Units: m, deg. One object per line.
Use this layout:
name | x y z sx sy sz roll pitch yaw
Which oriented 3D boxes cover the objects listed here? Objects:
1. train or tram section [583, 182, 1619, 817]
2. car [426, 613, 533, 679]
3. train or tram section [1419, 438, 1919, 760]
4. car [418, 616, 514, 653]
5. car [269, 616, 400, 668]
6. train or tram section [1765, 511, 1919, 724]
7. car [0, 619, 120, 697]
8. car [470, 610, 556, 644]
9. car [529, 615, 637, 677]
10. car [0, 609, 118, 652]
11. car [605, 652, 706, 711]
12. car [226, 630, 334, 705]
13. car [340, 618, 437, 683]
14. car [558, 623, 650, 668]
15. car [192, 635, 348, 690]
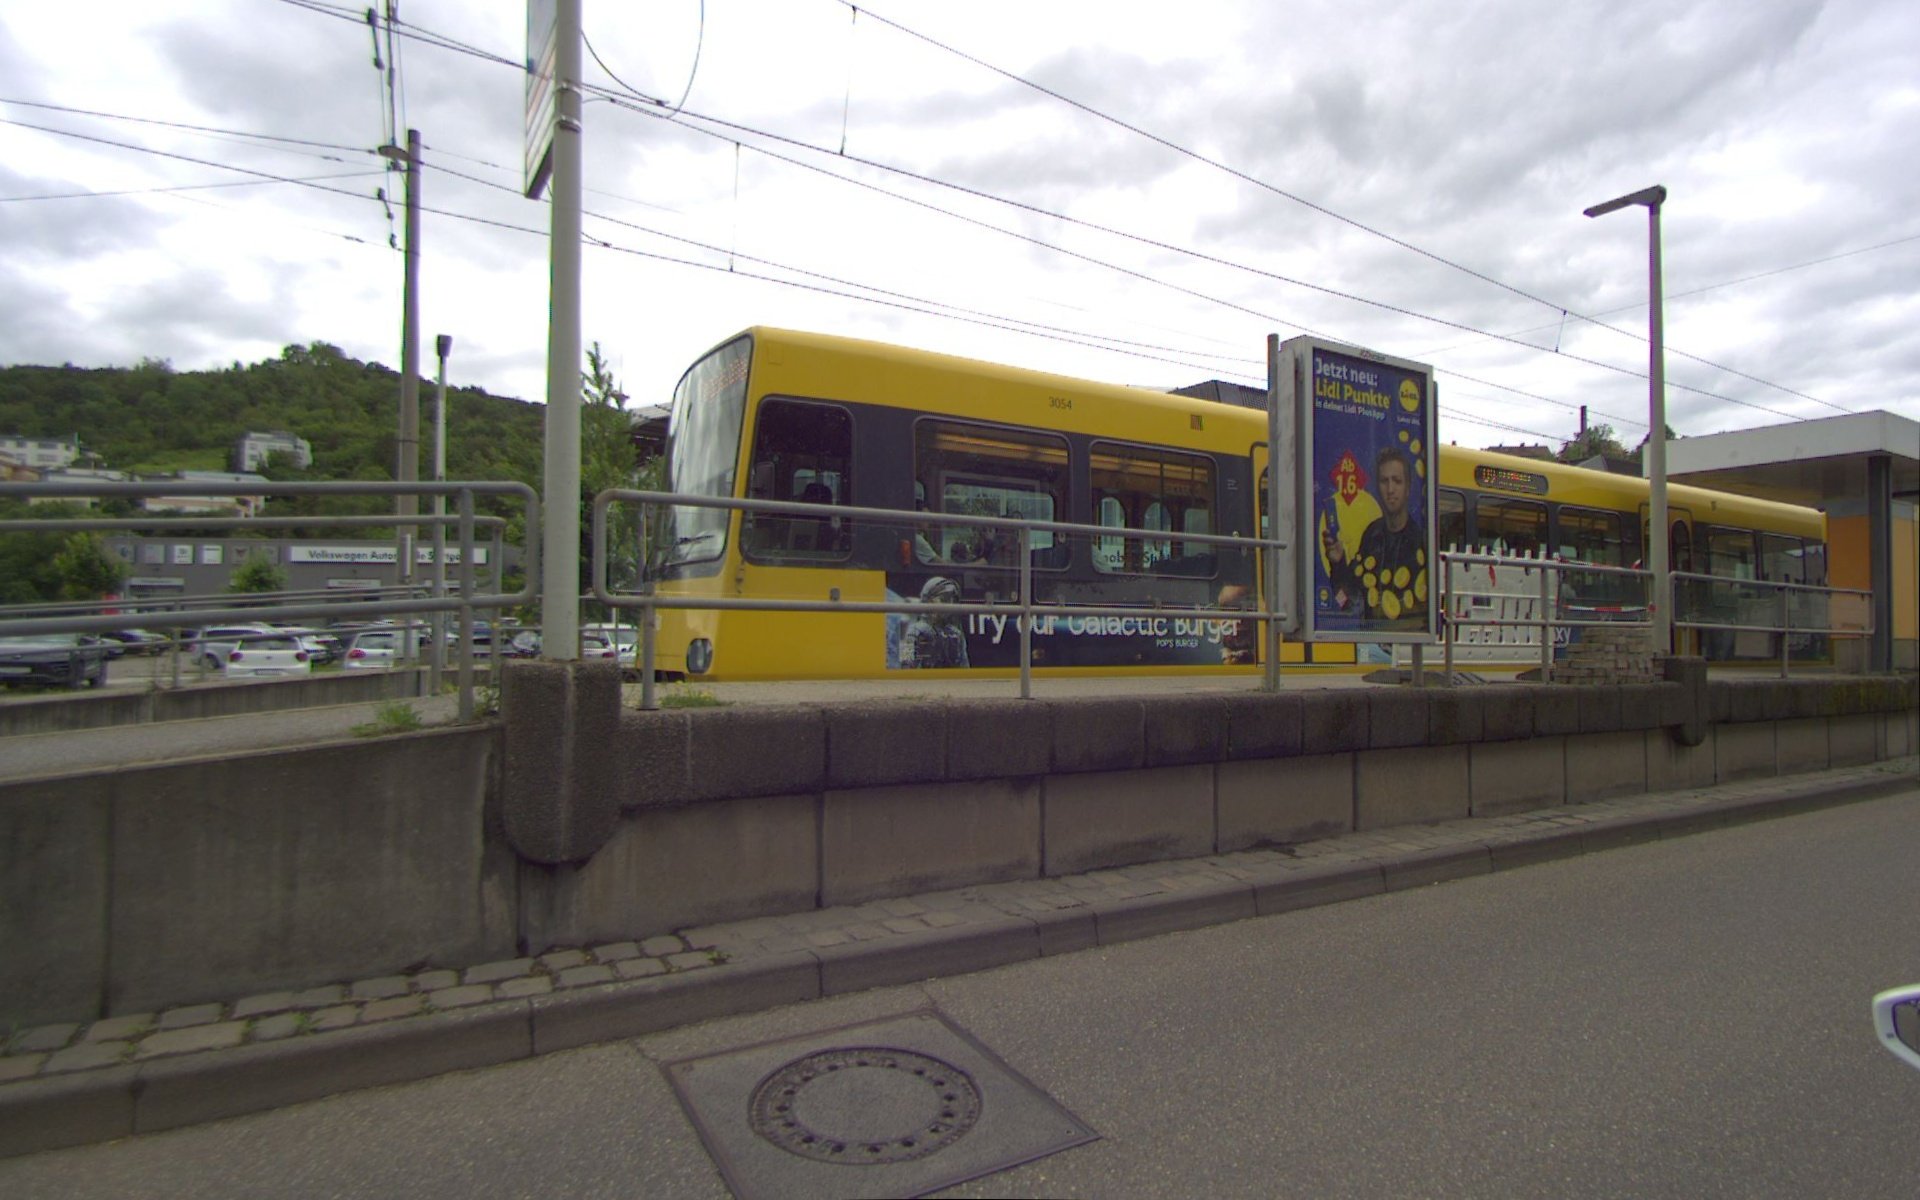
train or tram section | 2.461 -0.493 10.600 11.777 4.018 2.727 1 -2 -32
car | -13.208 1.260 27.511 1.909 1.574 3.961 7 -5 -35
train or tram section | 12.538 0.131 16.791 11.777 4.018 2.727 1 -2 -32
car | -28.425 2.020 57.971 4.429 1.750 1.998 4 -4 -9
car | -28.341 1.954 45.638 4.429 2.022 1.998 4 -4 -9
train or tram section | 22.608 0.467 22.957 11.777 4.018 2.727 1 -2 -32
car | -21.129 1.329 23.371 1.980 1.661 3.962 3 -4 -35
car | -28.121 1.711 63.271 4.429 1.750 1.998 4 -4 -9
car | -10.965 1.330 29.088 1.909 1.574 3.961 7 -5 -35
car | -45.348 1.571 50.623 3.925 1.816 1.853 4 -4 -5
car | -9.343 2.462 30.675 1.713 1.574 3.961 7 -5 -35
car | -17.262 1.672 25.508 1.981 1.660 3.961 7 -5 -35
car | -15.221 1.328 26.661 1.797 1.495 3.961 7 -5 -35
car | -14.128 1.766 39.734 1.915 1.574 3.949 8 -6 -43
car | -26.303 2.413 38.416 4.423 1.750 2.001 4 -4 -1
